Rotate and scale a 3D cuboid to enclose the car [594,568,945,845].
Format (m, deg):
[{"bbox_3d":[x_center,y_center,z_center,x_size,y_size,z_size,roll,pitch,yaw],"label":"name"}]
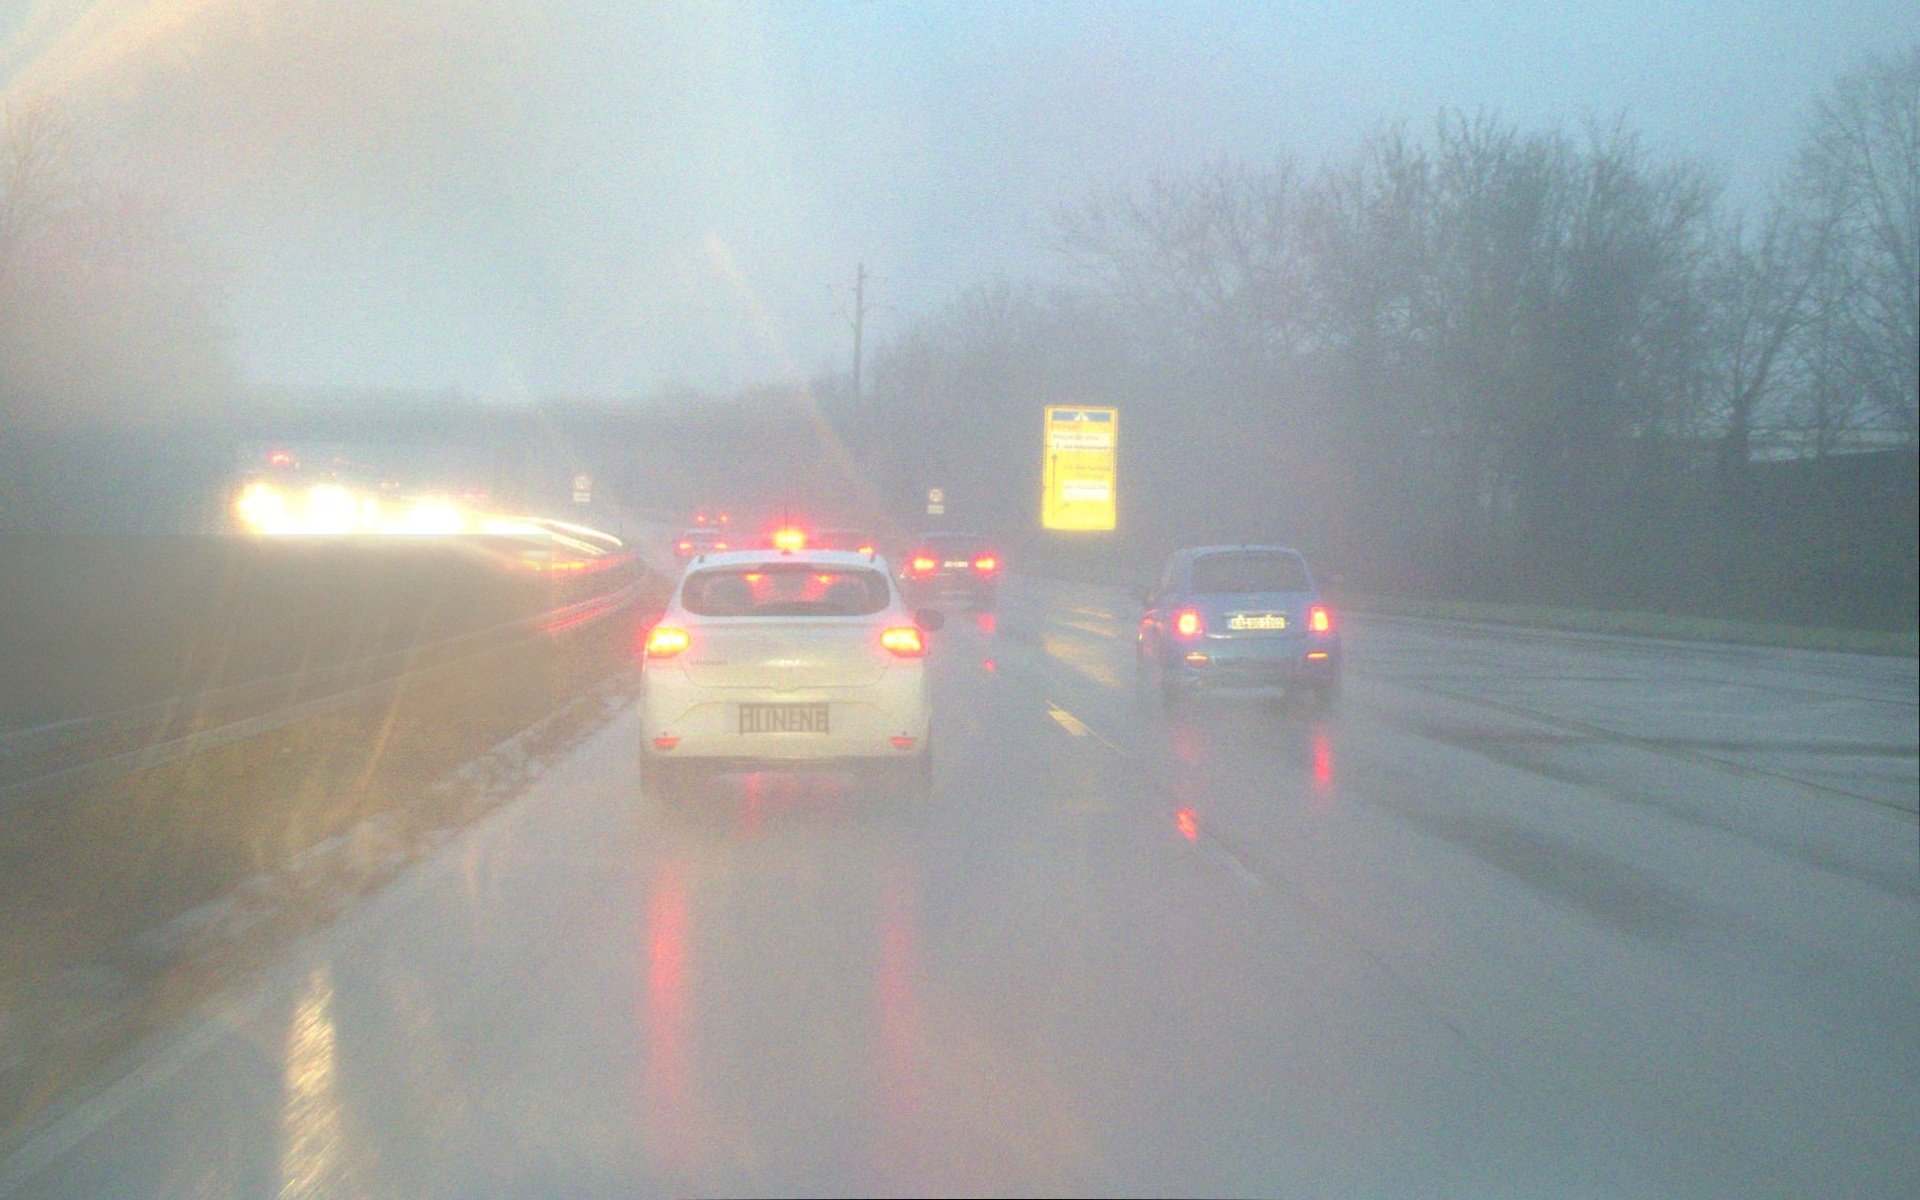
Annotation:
[{"bbox_3d":[-1.171,0.603,22.091,2.024,1.569,4.000,1,1,-2],"label":"car"}]

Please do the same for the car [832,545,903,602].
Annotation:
[{"bbox_3d":[-2.650,-0.763,97.562,1.932,1.541,3.774,1,1,-3],"label":"car"}]

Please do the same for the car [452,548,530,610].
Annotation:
[{"bbox_3d":[-11.829,-0.547,86.920,1.653,1.514,3.505,1,1,-3],"label":"car"}]

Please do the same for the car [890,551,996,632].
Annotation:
[{"bbox_3d":[-0.390,-0.174,73.853,1.932,1.541,3.774,-5,0,-4],"label":"car"}]

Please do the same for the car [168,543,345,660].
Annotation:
[{"bbox_3d":[-9.481,-0.011,46.650,1.616,1.479,4.600,1,1,-2],"label":"car"}]

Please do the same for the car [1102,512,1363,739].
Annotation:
[{"bbox_3d":[2.534,0.208,32.874,1.932,2.012,3.774,1,1,-4],"label":"car"}]

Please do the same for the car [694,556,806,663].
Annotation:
[{"bbox_3d":[-4.095,0.152,67.461,1.993,2.007,4.000,1,1,-1],"label":"car"}]
